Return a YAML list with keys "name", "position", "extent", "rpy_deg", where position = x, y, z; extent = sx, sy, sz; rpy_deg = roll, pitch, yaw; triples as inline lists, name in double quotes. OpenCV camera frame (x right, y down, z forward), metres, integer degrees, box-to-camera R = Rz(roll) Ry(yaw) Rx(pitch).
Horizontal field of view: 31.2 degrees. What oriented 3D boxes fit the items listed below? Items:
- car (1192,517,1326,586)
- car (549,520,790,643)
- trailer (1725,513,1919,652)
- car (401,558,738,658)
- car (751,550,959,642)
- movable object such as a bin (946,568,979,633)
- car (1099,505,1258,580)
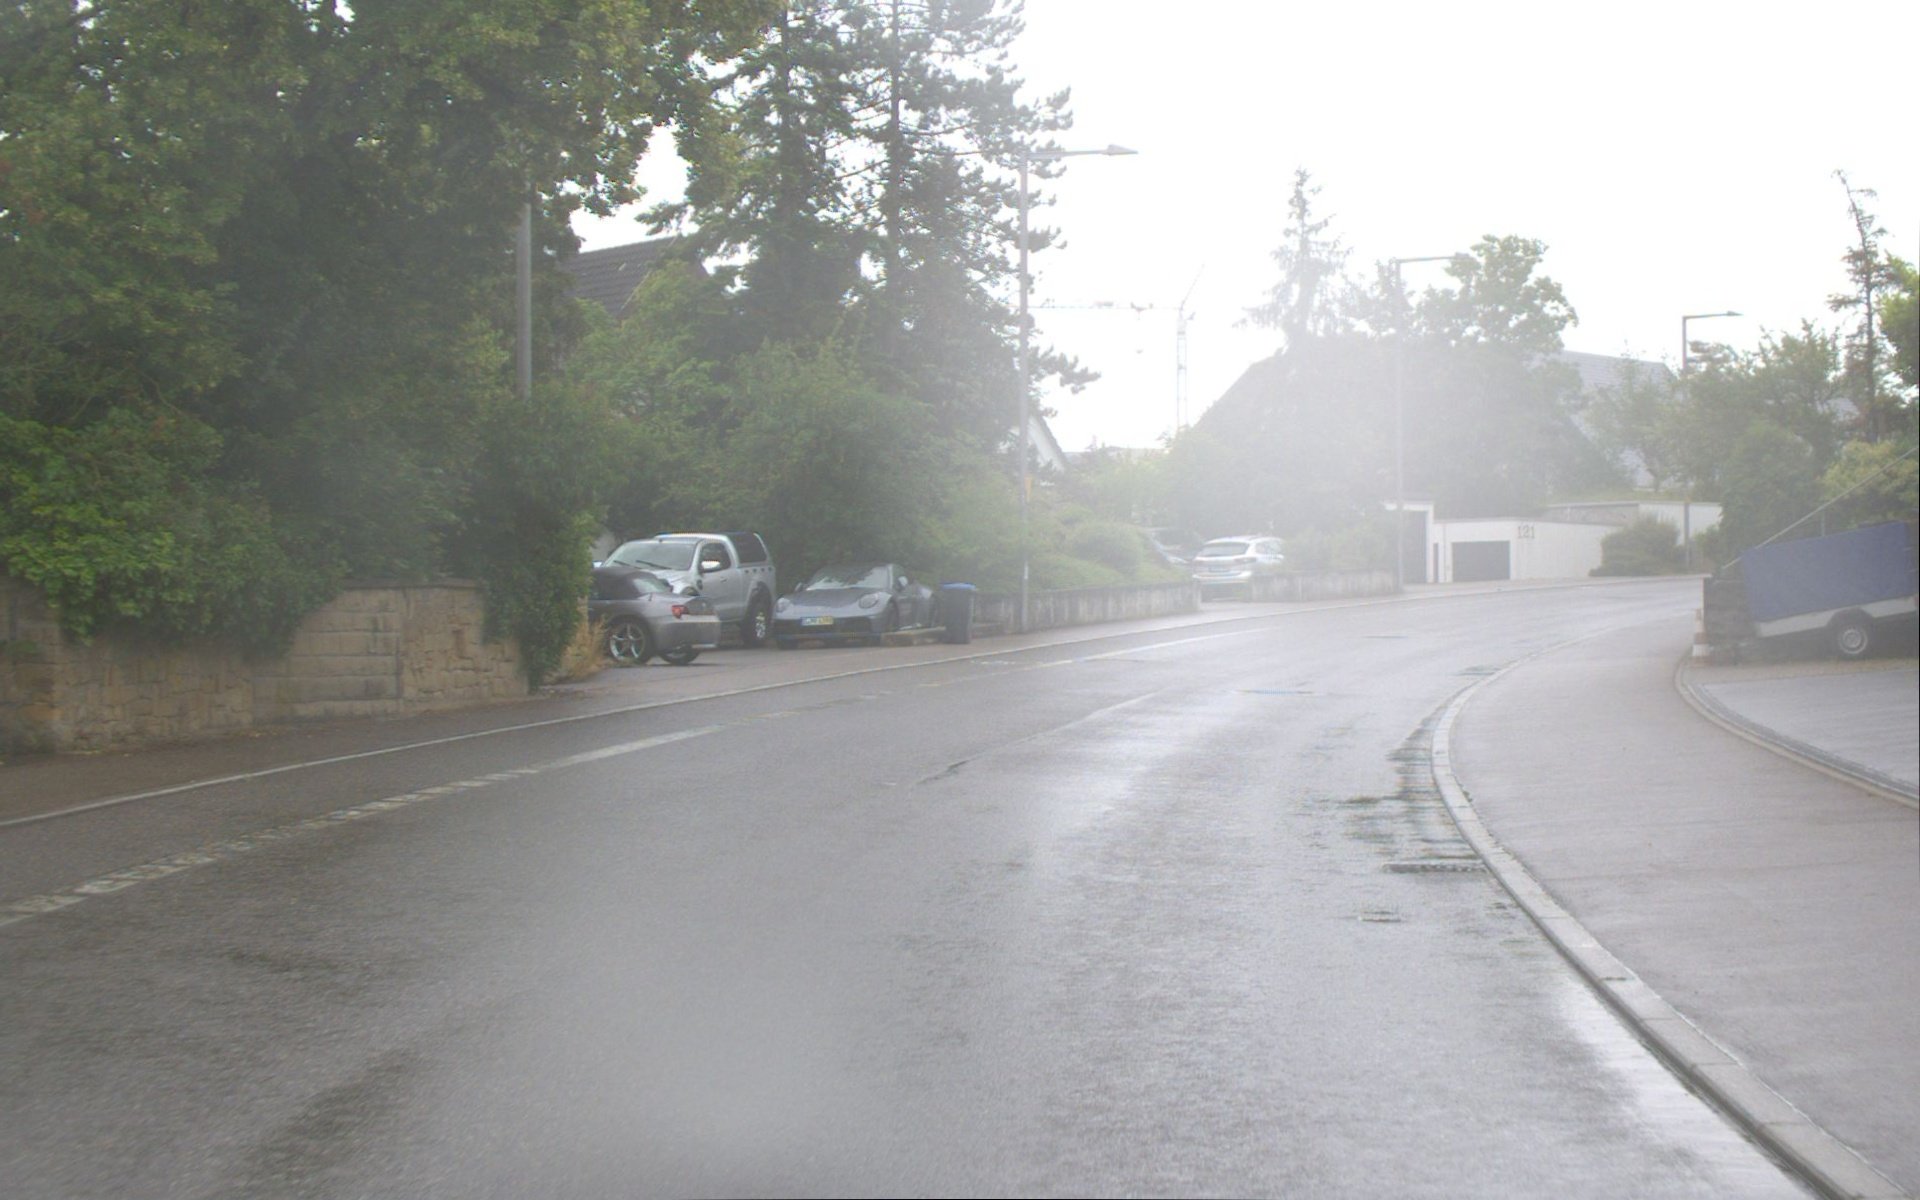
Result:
- name: "car"
  position: [7.115, -1.164, 81.546]
  extent: [1.737, 1.546, 3.994]
  rpy_deg: [-1, 1, 28]
- name: "car"
  position: [-4.497, -0.331, 54.221]
  extent: [1.995, 1.837, 5.474]
  rpy_deg: [0, 1, 16]
- name: "trailer"
  position: [11.136, -0.230, 44.551]
  extent: [2.355, 1.742, 1.999]
  rpy_deg: [-1, 1, 12]
- name: "car"
  position: [-5.148, 0.094, 45.392]
  extent: [3.991, 1.267, 1.872]
  rpy_deg: [0, 1, 19]
- name: "car"
  position: [-1.586, -0.087, 53.940]
  extent: [1.995, 1.303, 4.430]
  rpy_deg: [-1, 1, 16]
- name: "movable object such as a bin"
  position: [0.044, 0.000, 53.042]
  extent: [0.370, 0.985, 0.558]
  rpy_deg: [-1, 1, 13]
- name: "car"
  position: [5.546, -1.447, 87.642]
  extent: [1.994, 1.831, 4.000]
  rpy_deg: [-2, 1, -34]
